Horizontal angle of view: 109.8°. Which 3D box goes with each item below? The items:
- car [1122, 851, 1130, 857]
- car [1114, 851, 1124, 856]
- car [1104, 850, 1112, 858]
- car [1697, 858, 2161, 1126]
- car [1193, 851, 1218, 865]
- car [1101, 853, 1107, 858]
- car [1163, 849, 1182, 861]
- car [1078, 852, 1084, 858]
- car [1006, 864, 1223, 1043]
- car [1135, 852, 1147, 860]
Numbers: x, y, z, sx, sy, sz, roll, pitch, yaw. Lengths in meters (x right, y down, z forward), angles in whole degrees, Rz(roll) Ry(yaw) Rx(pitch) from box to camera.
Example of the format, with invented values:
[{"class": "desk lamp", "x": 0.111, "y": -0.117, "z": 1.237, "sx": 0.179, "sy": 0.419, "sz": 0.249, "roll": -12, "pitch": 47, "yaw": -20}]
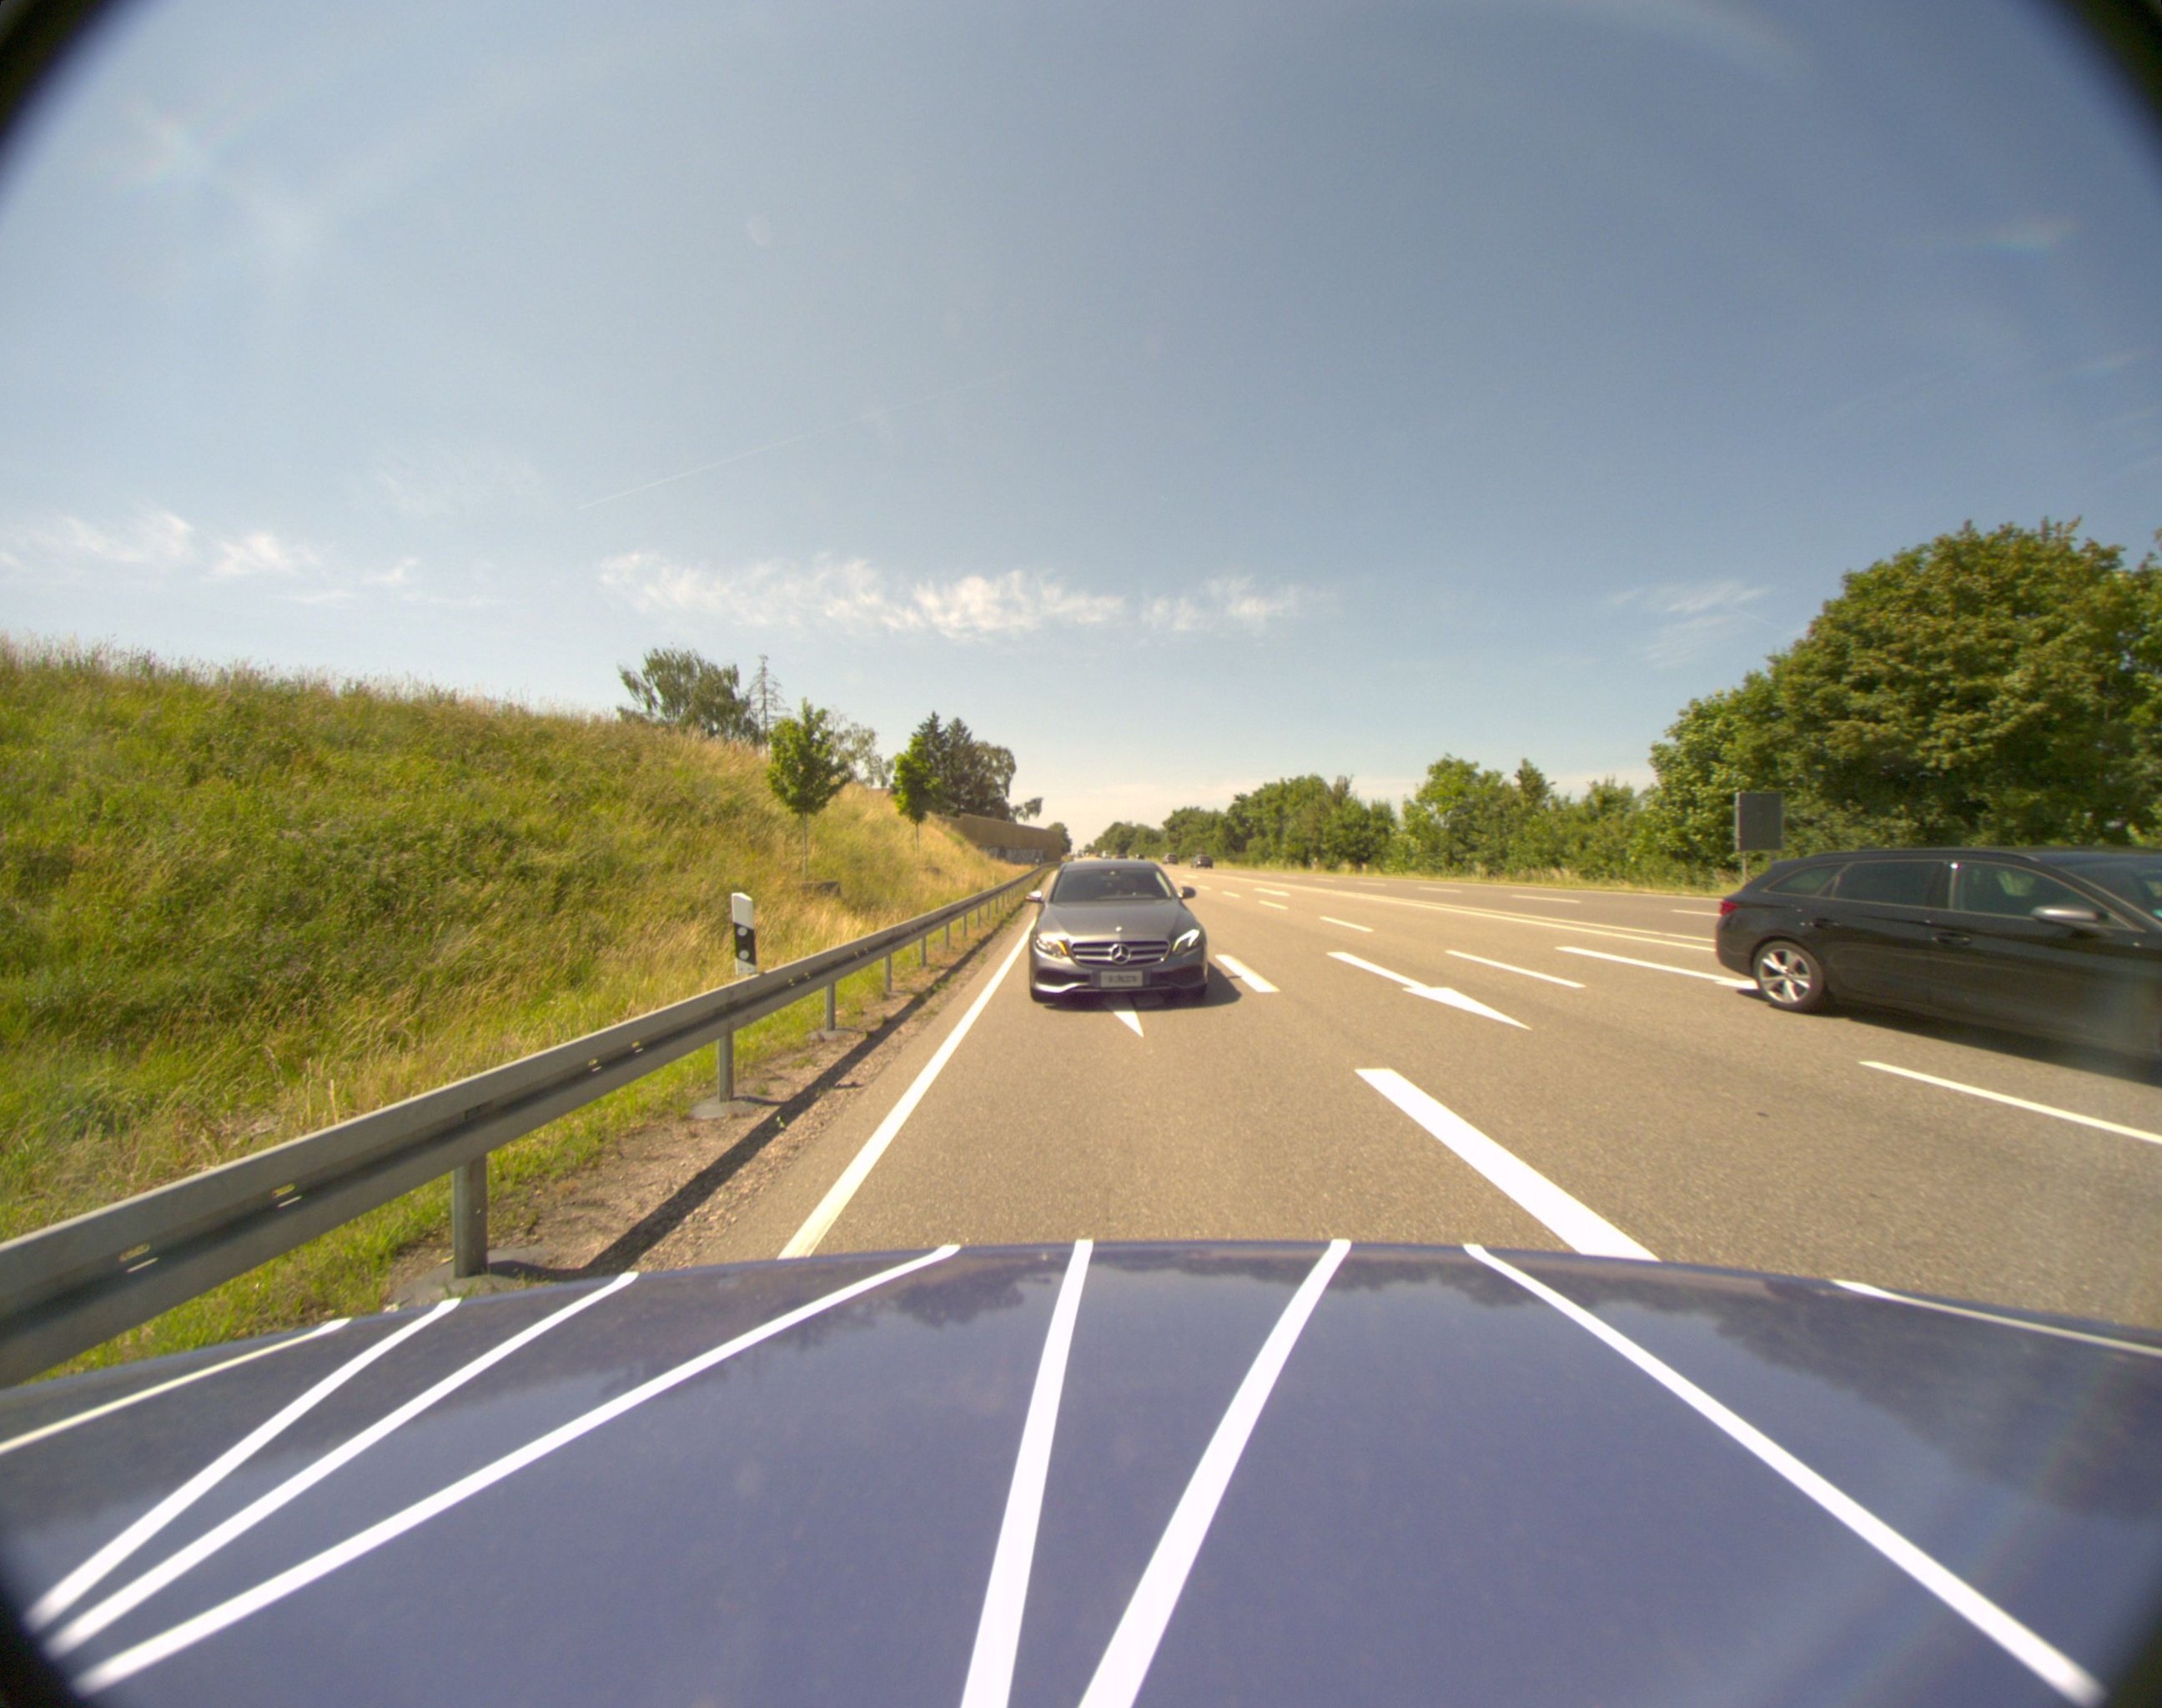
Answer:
[{"class": "car", "x": 11.372, "y": 0.067, "z": 190.724, "sx": 1.526, "sy": 1.461, "sz": 3.787, "roll": -2, "pitch": 1, "yaw": -3}, {"class": "car", "x": 8.672, "y": -0.127, "z": 173.151, "sx": 1.810, "sy": 1.272, "sz": 4.764, "roll": -1, "pitch": 0, "yaw": -2}, {"class": "car", "x": 7.085, "y": 0.004, "z": 200.211, "sx": 1.910, "sy": 1.906, "sz": 5.051, "roll": 0, "pitch": 0, "yaw": 0}, {"class": "car", "x": 7.041, "y": 0.791, "z": 5.242, "sx": 1.894, "sy": 1.439, "sz": 4.525, "roll": -1, "pitch": 0, "yaw": 0}, {"class": "car", "x": 13.512, "y": 0.442, "z": 82.682, "sx": 1.883, "sy": 1.390, "sz": 4.530, "roll": -1, "pitch": 1, "yaw": -2}, {"class": "car", "x": 7.311, "y": 0.358, "z": 239.961, "sx": 1.893, "sy": 1.527, "sz": 4.525, "roll": -1, "pitch": 1, "yaw": 1}, {"class": "car", "x": 13.408, "y": 0.156, "z": 111.556, "sx": 2.033, "sy": 1.630, "sz": 4.568, "roll": -2, "pitch": 1, "yaw": -2}, {"class": "car", "x": 0.020, "y": 0.228, "z": 240.825, "sx": 1.801, "sy": 1.674, "sz": 3.999, "roll": -2, "pitch": 1, "yaw": 0}, {"class": "car", "x": 0.236, "y": 0.907, "z": 8.996, "sx": 1.894, "sy": 1.439, "sz": 4.524, "roll": -1, "pitch": 1, "yaw": -2}, {"class": "car", "x": 10.857, "y": 0.332, "z": 137.635, "sx": 1.649, "sy": 1.479, "sz": 3.558, "roll": -2, "pitch": 1, "yaw": -2}]
